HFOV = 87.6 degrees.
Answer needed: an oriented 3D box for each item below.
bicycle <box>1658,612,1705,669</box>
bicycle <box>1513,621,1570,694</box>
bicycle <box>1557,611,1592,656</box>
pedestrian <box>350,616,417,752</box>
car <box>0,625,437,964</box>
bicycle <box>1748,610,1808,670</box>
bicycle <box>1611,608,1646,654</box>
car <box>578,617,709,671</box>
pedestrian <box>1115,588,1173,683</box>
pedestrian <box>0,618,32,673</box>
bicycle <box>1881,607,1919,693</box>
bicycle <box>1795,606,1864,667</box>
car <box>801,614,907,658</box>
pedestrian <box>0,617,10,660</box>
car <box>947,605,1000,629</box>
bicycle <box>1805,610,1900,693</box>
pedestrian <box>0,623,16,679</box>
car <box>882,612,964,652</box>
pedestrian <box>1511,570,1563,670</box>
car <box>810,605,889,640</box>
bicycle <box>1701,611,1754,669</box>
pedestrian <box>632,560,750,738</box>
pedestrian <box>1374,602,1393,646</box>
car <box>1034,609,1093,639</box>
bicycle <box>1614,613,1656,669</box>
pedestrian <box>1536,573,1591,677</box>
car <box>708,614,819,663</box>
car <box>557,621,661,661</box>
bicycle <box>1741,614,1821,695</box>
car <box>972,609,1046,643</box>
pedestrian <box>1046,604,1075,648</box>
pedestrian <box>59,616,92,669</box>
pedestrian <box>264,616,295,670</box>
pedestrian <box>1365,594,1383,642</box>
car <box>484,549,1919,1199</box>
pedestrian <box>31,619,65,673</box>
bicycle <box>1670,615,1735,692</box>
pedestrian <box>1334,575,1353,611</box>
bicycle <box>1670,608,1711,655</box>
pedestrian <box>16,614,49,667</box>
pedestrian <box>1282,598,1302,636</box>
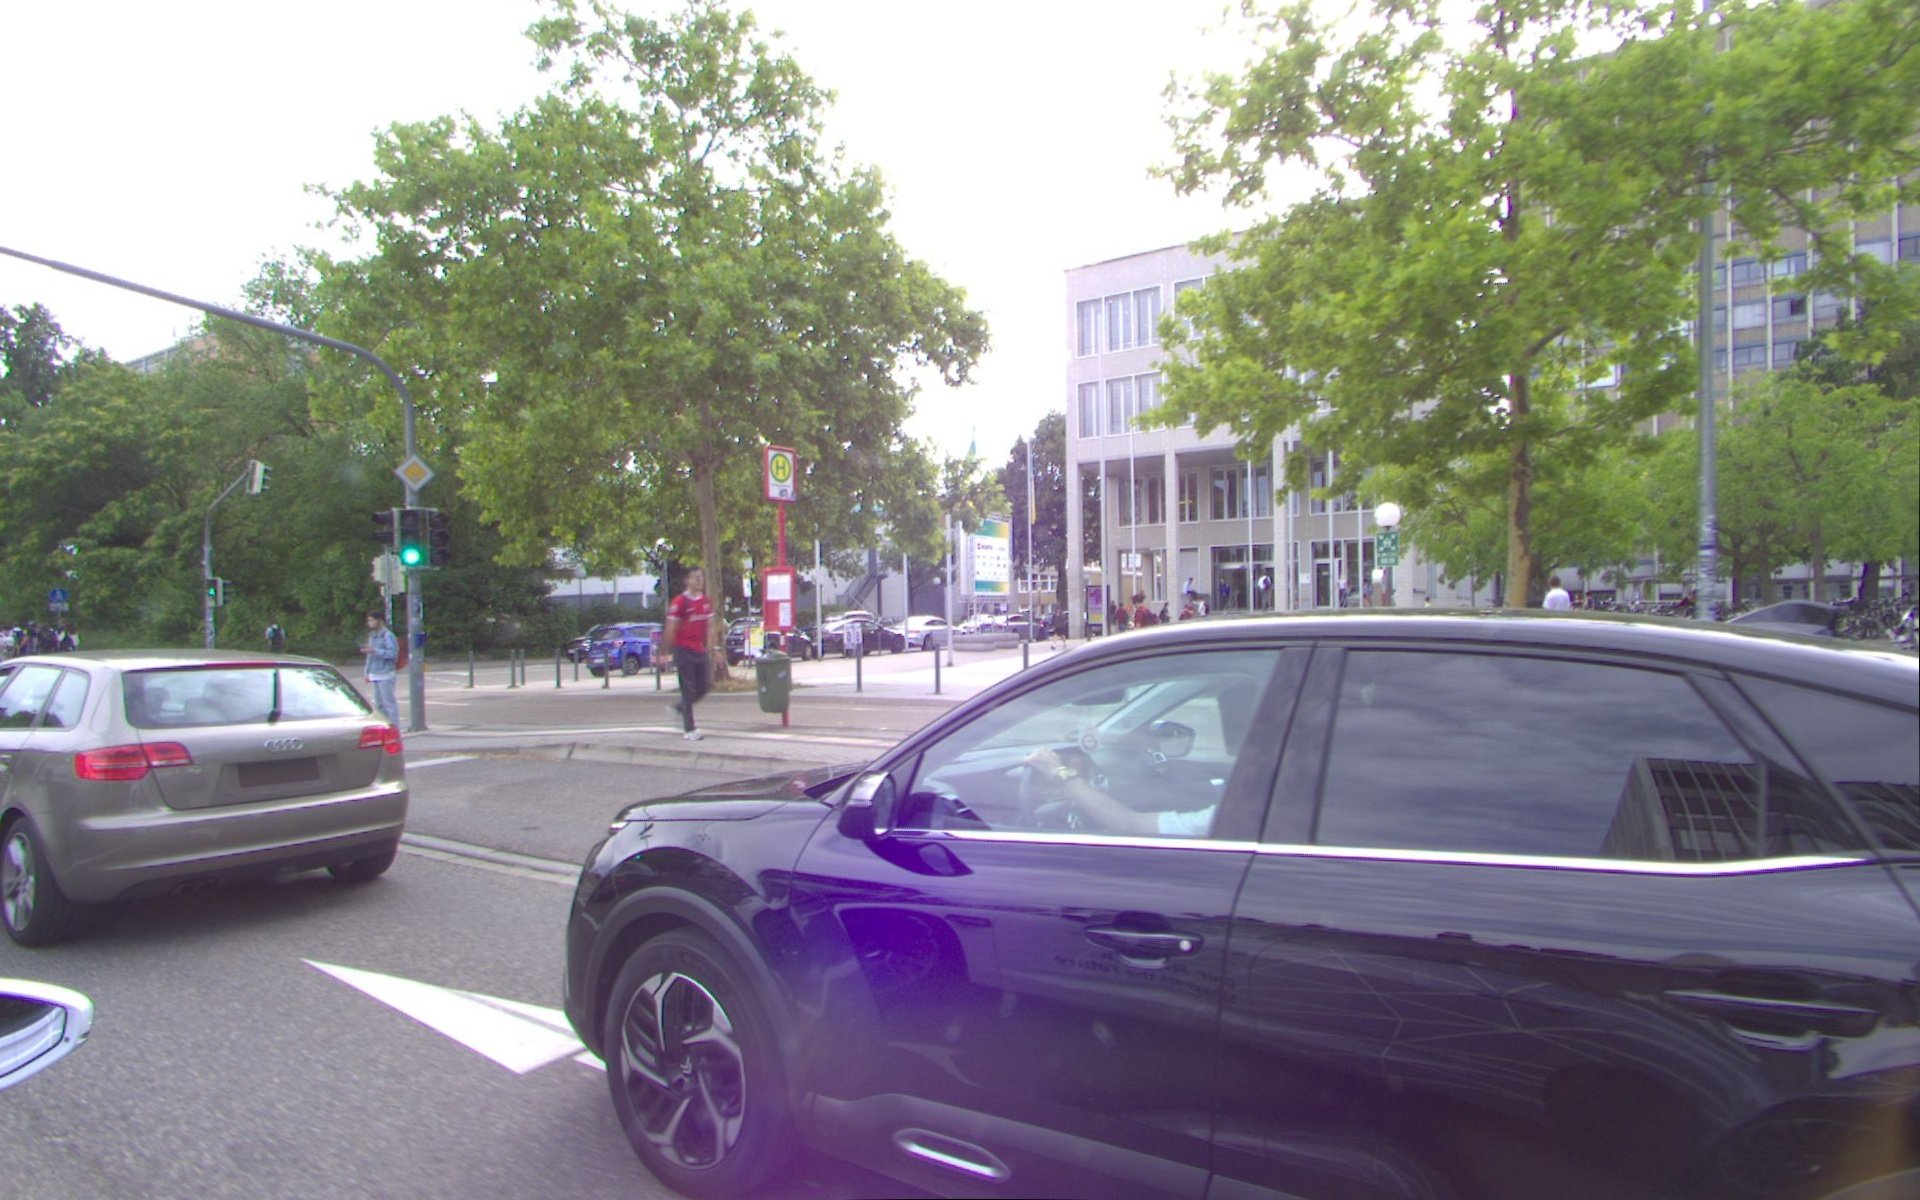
[{"bbox_3d":[15.444,0.837,21.466,0.708,1.157,2.460,-1,-1,34],"label":"bicycle"},{"bbox_3d":[10.218,0.969,17.566,0.708,1.157,2.460,-1,-1,34],"label":"bicycle"},{"bbox_3d":[16.552,0.877,26.934,0.708,1.157,2.460,-1,-1,34],"label":"bicycle"},{"bbox_3d":[-8.059,1.156,14.007,0.673,1.840,0.571,-1,0,36],"label":"pedestrian"},{"bbox_3d":[-5.114,0.924,6.149,3.682,1.476,1.721,-1,-1,31],"label":"car"},{"bbox_3d":[16.765,0.793,20.566,0.708,1.157,2.460,-1,-1,34],"label":"bicycle"},{"bbox_3d":[17.530,0.802,26.273,0.708,1.157,2.460,-1,-1,34],"label":"bicycle"},{"bbox_3d":[-9.481,1.312,30.216,1.651,1.510,3.564,-2,-2,32],"label":"car"},{"bbox_3d":[3.649,0.713,19.888,0.880,1.827,0.764,-1,-2,38],"label":"pedestrian"},{"bbox_3d":[-31.119,1.487,32.988,0.769,1.768,0.622,-1,0,34],"label":"pedestrian"},{"bbox_3d":[13.852,0.681,14.247,0.708,1.157,2.460,-1,-1,34],"label":"bicycle"},{"bbox_3d":[17.426,0.709,20.118,0.708,1.157,2.460,-1,-1,34],"label":"bicycle"},{"bbox_3d":[-4.012,1.370,38.615,1.651,1.587,4.430,-2,-2,32],"label":"car"},{"bbox_3d":[-39.854,1.603,41.553,0.655,1.787,0.482,-1,0,36],"label":"pedestrian"},{"bbox_3d":[0.886,1.106,64.311,1.661,1.460,3.763,-2,-2,33],"label":"car"},{"bbox_3d":[13.454,0.738,15.162,0.708,1.157,2.460,-1,-1,34],"label":"bicycle"},{"bbox_3d":[-29.243,1.548,30.524,0.628,1.709,0.544,-1,0,34],"label":"pedestrian"},{"bbox_3d":[-1.549,1.349,43.013,1.651,1.587,3.812,-2,-2,32],"label":"car"},{"bbox_3d":[11.598,0.408,20.132,0.591,1.988,0.686,0,-1,-7],"label":"pedestrian"},{"bbox_3d":[-5.612,1.136,51.241,1.661,1.714,4.272,-2,-2,33],"label":"car"},{"bbox_3d":[16.078,0.813,21.023,0.708,1.157,2.460,-1,-1,34],"label":"bicycle"},{"bbox_3d":[-2.988,0.530,11.130,1.049,1.877,0.724,-1,0,31],"label":"pedestrian"},{"bbox_3d":[15.670,0.897,37.089,0.592,1.617,0.726,-1,-1,20],"label":"pedestrian"},{"bbox_3d":[5.723,1.317,55.180,1.651,1.587,3.969,-2,-2,32],"label":"car"},{"bbox_3d":[14.767,0.864,21.929,0.708,1.157,2.460,-1,-1,34],"label":"bicycle"},{"bbox_3d":[11.674,0.489,19.386,0.591,1.988,0.686,0,-1,-7],"label":"pedestrian"},{"bbox_3d":[-6.706,1.298,34.467,1.651,1.587,3.676,-2,-2,32],"label":"car"},{"bbox_3d":[-13.714,1.588,39.298,1.661,1.460,3.563,-2,-2,33],"label":"car"},{"bbox_3d":[12.763,0.800,15.625,0.708,1.157,2.460,-1,-1,34],"label":"bicycle"},{"bbox_3d":[2.481,1.292,49.685,1.790,1.587,4.207,-2,-2,32],"label":"car"},{"bbox_3d":[4.043,1.058,40.337,0.944,1.730,0.696,1,-2,-39],"label":"pedestrian"},{"bbox_3d":[-30.233,1.434,34.214,0.769,1.768,0.655,-1,0,34],"label":"pedestrian"},{"bbox_3d":[-23.218,1.456,34.160,0.730,1.819,0.643,-1,0,34],"label":"pedestrian"},{"bbox_3d":[16.186,0.705,39.154,0.592,1.867,0.727,-1,-1,18],"label":"pedestrian"},{"bbox_3d":[0.754,0.775,2.580,4.120,1.576,1.795,-1,-2,35],"label":"car"},{"bbox_3d":[-30.632,1.531,33.644,0.769,1.768,0.655,-1,0,34],"label":"pedestrian"},{"bbox_3d":[12.126,0.842,16.409,0.708,1.157,2.460,-1,-1,34],"label":"bicycle"},{"bbox_3d":[18.941,-0.328,49.481,0.665,1.736,0.627,1,-2,-40],"label":"pedestrian"},{"bbox_3d":[18.618,0.783,25.554,0.708,1.157,2.460,-1,-1,34],"label":"bicycle"},{"bbox_3d":[-31.939,1.392,34.495,0.769,1.768,0.655,-1,0,34],"label":"pedestrian"},{"bbox_3d":[14.767,0.758,44.575,0.625,1.661,0.599,1,-2,-34],"label":"pedestrian"}]
